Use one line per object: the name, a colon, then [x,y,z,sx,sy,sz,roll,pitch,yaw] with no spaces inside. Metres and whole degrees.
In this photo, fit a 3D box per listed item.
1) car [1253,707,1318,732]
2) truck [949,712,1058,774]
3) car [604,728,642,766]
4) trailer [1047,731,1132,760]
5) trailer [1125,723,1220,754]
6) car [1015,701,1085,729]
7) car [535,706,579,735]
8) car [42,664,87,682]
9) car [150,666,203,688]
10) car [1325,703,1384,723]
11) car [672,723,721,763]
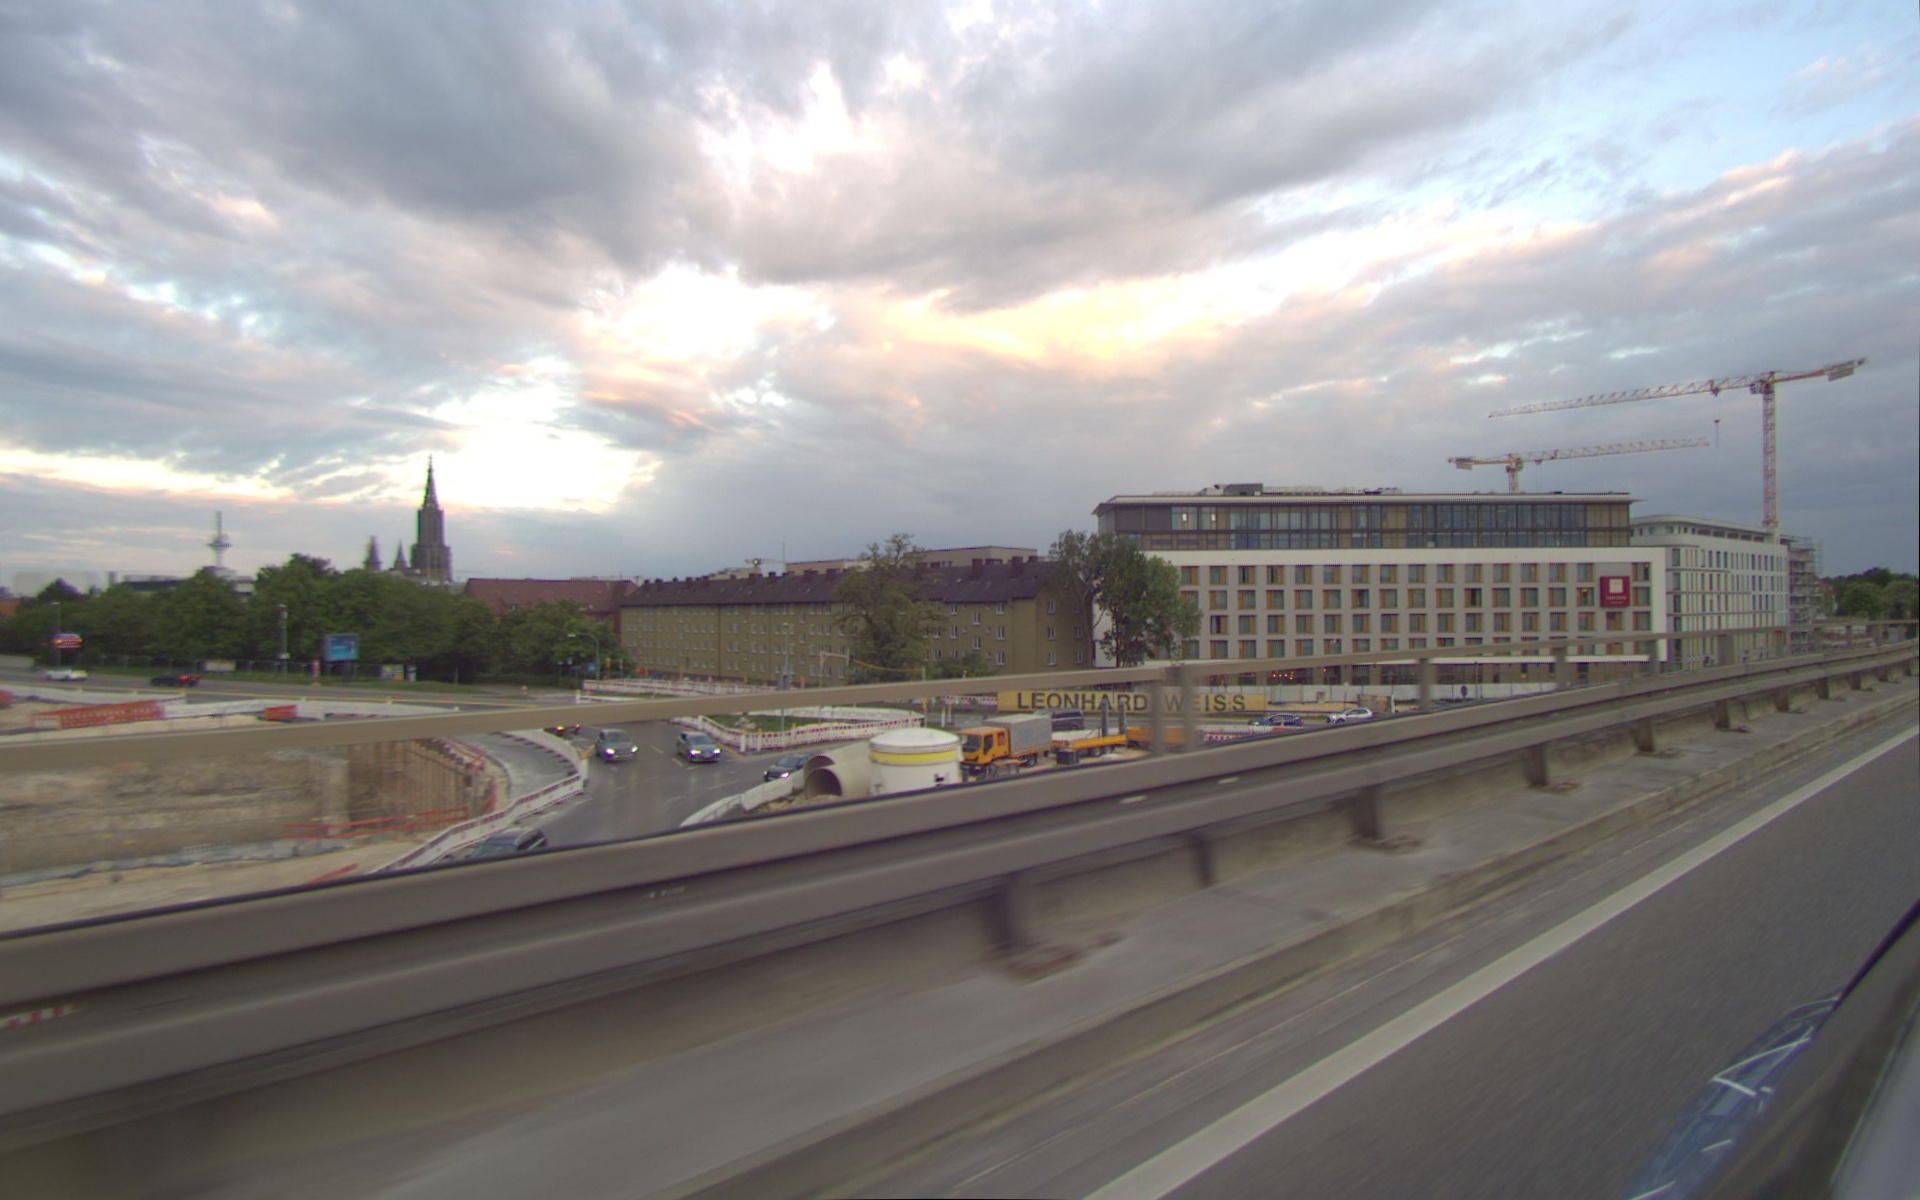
car: [24.699,9.065,76.879,4.527,1.640,1.990,0,-4,14]
truck: [2.701,8.411,60.274,2.157,2.987,7.218,-4,-4,44]
car: [-20.163,8.749,60.485,1.612,1.761,3.799,-1,-1,-27]
trailer: [8.370,9.304,65.001,5.769,1.366,1.996,1,-7,-40]
trailer: [14.000,9.061,66.697,5.826,1.365,2.004,0,0,32]
car: [6.742,8.681,76.292,4.991,1.903,2.000,2,-6,-4]
car: [-28.499,8.507,71.587,1.622,1.639,3.757,0,0,-44]
car: [-93.939,7.652,106.123,3.648,1.762,1.588,0,-4,12]
car: [-78.875,7.717,101.888,3.938,2.040,1.992,1,-4,12]
car: [31.997,9.166,82.179,3.926,1.461,1.910,0,-6,2]
car: [-16.135,8.700,61.855,1.768,1.741,4.106,-3,1,-30]
